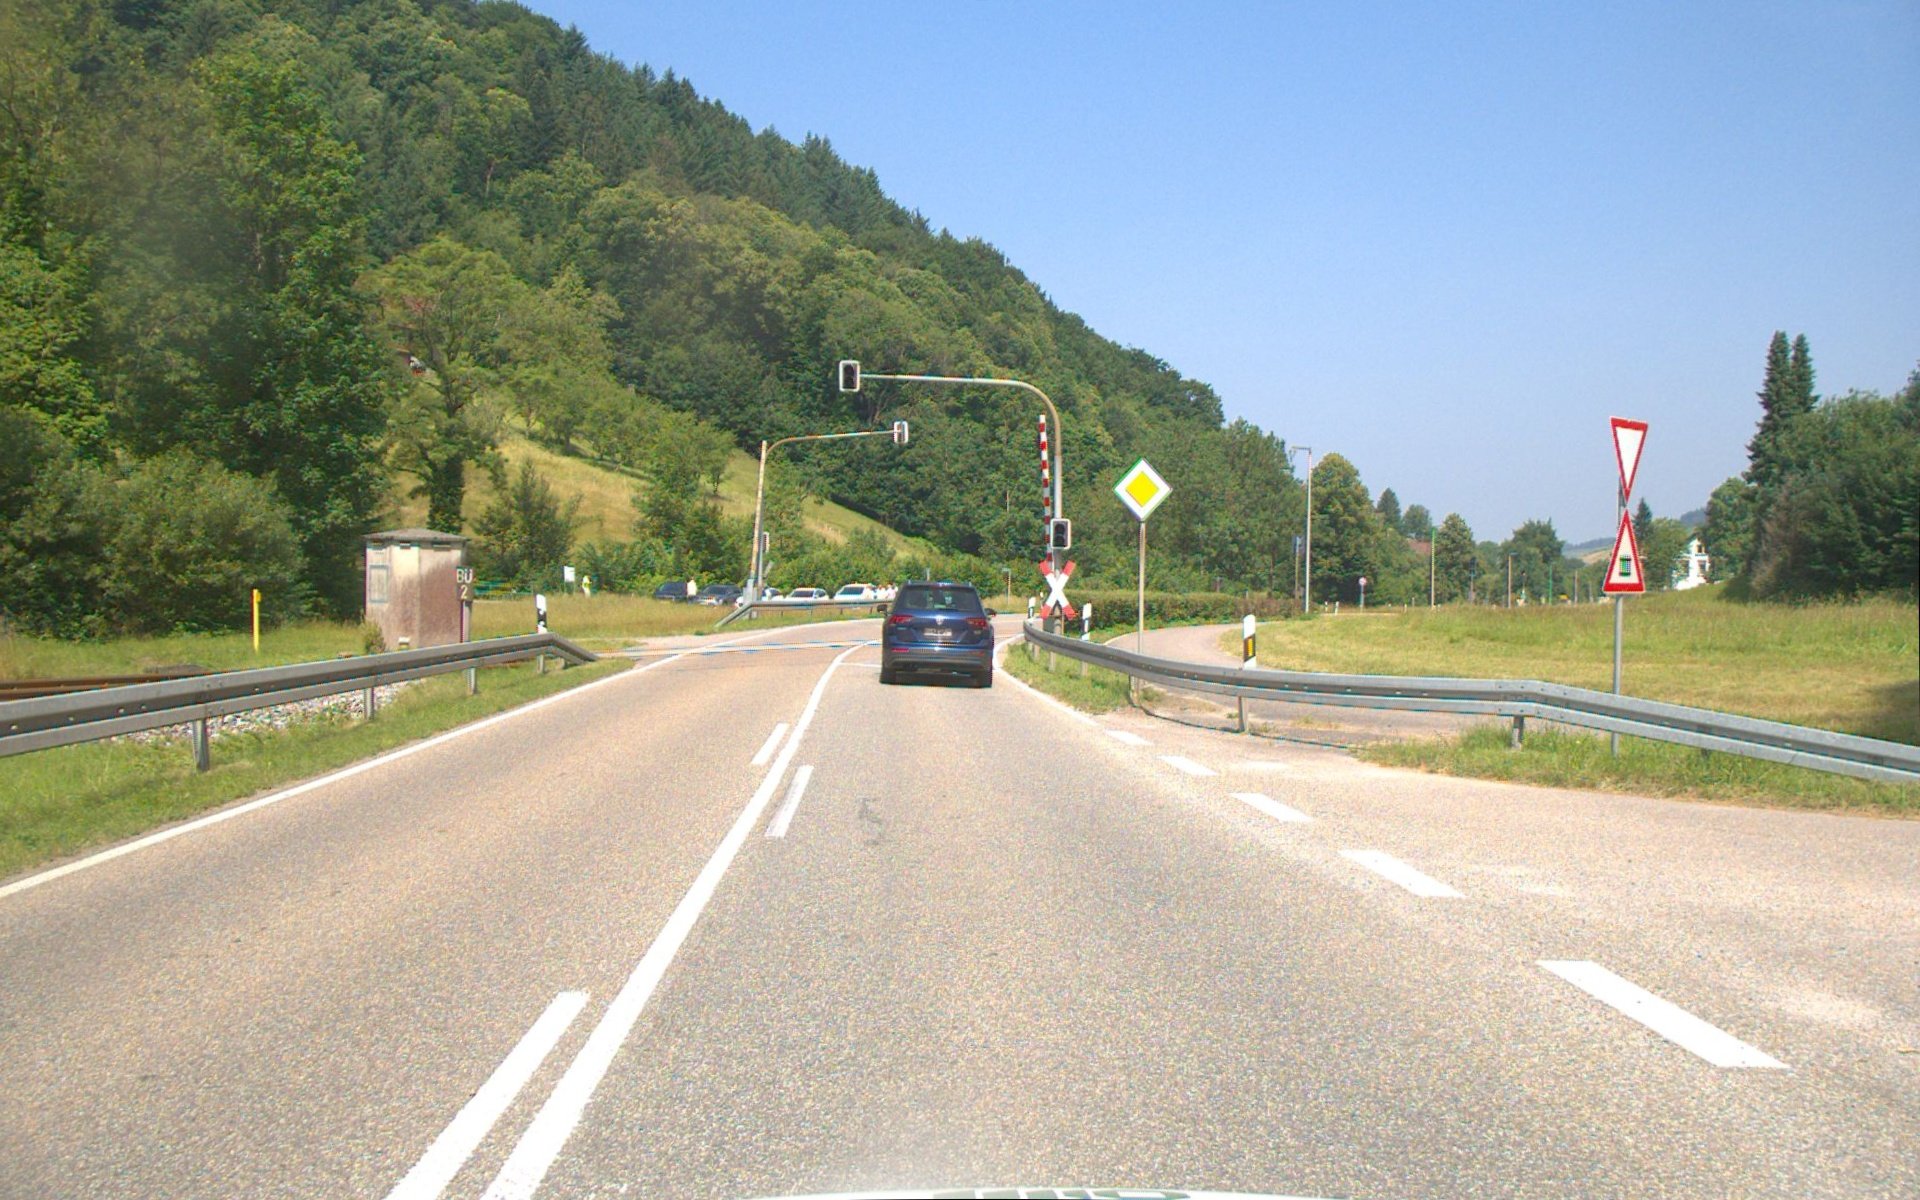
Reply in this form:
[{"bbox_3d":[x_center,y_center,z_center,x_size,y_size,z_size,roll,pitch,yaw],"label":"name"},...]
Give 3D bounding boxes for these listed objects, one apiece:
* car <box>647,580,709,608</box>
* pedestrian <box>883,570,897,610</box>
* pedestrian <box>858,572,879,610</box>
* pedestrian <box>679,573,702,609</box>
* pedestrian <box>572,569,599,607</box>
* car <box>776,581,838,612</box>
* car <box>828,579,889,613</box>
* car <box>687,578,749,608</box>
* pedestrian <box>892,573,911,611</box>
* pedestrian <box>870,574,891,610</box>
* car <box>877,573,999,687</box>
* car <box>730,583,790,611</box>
[{"bbox_3d":[-15.785,-0.333,92.725,1.951,1.527,4.525,0,0,11],"label":"car"},{"bbox_3d":[-3.546,-0.491,83.474,0.646,1.989,0.533,-1,0,4],"label":"pedestrian"},{"bbox_3d":[-4.593,-0.457,82.997,0.772,1.874,0.698,0,0,24],"label":"pedestrian"},{"bbox_3d":[-13.963,-0.468,85.649,0.933,1.826,1.001,0,0,6],"label":"pedestrian"},{"bbox_3d":[-19.908,-0.612,87.992,1.104,2.004,0.860,-1,0,29],"label":"pedestrian"},{"bbox_3d":[-8.410,-0.207,91.215,1.951,1.670,4.906,0,0,14],"label":"car"},{"bbox_3d":[-5.568,-0.235,91.187,1.831,1.813,4.775,1,0,17],"label":"car"},{"bbox_3d":[-13.418,-0.397,92.091,1.951,1.527,4.525,2,1,11],"label":"car"},{"bbox_3d":[-2.972,-0.398,83.975,0.765,1.891,0.639,0,0,-43],"label":"pedestrian"},{"bbox_3d":[-4.037,-0.416,84.120,0.757,1.827,0.790,-1,0,40],"label":"pedestrian"},{"bbox_3d":[-0.391,0.443,27.392,1.815,1.678,4.138,2,0,-2],"label":"car"},{"bbox_3d":[-11.040,-0.153,91.456,1.951,1.527,4.525,0,0,11],"label":"car"}]
